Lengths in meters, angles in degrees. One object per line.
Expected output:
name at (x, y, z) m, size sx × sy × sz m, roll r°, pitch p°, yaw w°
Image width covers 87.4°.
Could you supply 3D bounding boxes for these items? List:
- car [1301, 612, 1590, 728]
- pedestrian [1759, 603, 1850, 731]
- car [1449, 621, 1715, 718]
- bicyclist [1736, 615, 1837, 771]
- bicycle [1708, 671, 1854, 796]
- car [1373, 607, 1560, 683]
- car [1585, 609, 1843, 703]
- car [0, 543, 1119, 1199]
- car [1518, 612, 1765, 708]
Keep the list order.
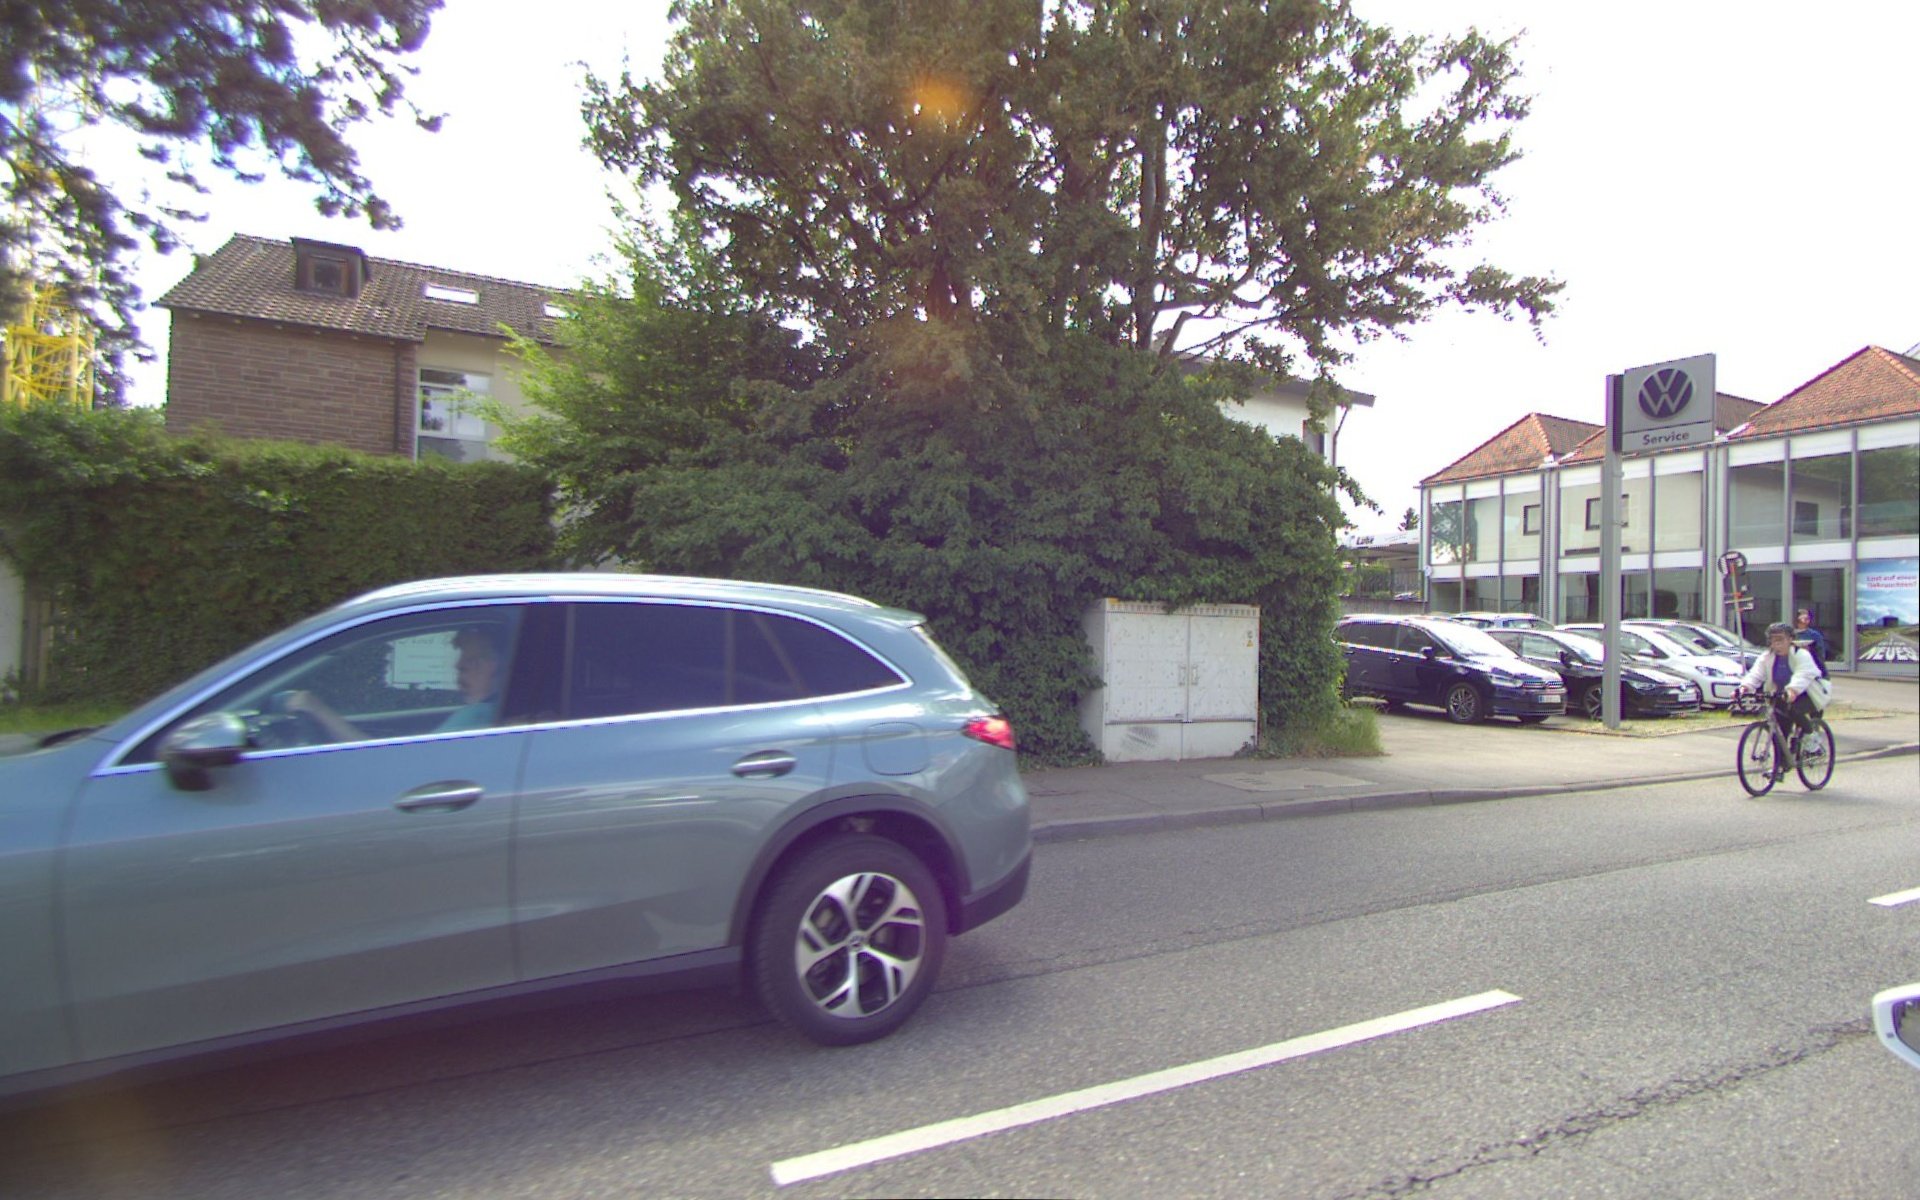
car at (8.178, 1.082, 17.366) m, size 1.878 × 1.663 × 4.276 m, roll 1°, pitch 0°, yaw -25°
pedestrian at (11.992, 0.935, 14.264) m, size 0.857 × 1.760 × 0.680 m, roll 2°, pitch 0°, yaw -27°
car at (10.977, 1.156, 18.001) m, size 1.707 × 1.538 × 3.725 m, roll 1°, pitch -2°, yaw -28°
bicyclist at (8.126, 0.891, 9.877) m, size 0.854 × 1.468 × 0.467 m, roll 1°, pitch -3°, yaw -30°
bicycle at (8.018, 1.261, 9.793) m, size 1.848 × 1.101 × 0.452 m, roll 2°, pitch -3°, yaw -30°
car at (12.106, 1.010, 23.980) m, size 4.271 × 1.606 × 1.799 m, roll 0°, pitch 2°, yaw -27°
car at (15.651, 1.087, 21.084) m, size 1.633 × 1.652 × 3.996 m, roll 1°, pitch 1°, yaw -28°
car at (-1.750, 0.727, 3.798) m, size 4.480 × 1.639 × 1.858 m, roll 1°, pitch -2°, yaw -29°
car at (13.253, 1.096, 19.766) m, size 1.515 × 1.581 × 3.724 m, roll 1°, pitch 1°, yaw -28°
